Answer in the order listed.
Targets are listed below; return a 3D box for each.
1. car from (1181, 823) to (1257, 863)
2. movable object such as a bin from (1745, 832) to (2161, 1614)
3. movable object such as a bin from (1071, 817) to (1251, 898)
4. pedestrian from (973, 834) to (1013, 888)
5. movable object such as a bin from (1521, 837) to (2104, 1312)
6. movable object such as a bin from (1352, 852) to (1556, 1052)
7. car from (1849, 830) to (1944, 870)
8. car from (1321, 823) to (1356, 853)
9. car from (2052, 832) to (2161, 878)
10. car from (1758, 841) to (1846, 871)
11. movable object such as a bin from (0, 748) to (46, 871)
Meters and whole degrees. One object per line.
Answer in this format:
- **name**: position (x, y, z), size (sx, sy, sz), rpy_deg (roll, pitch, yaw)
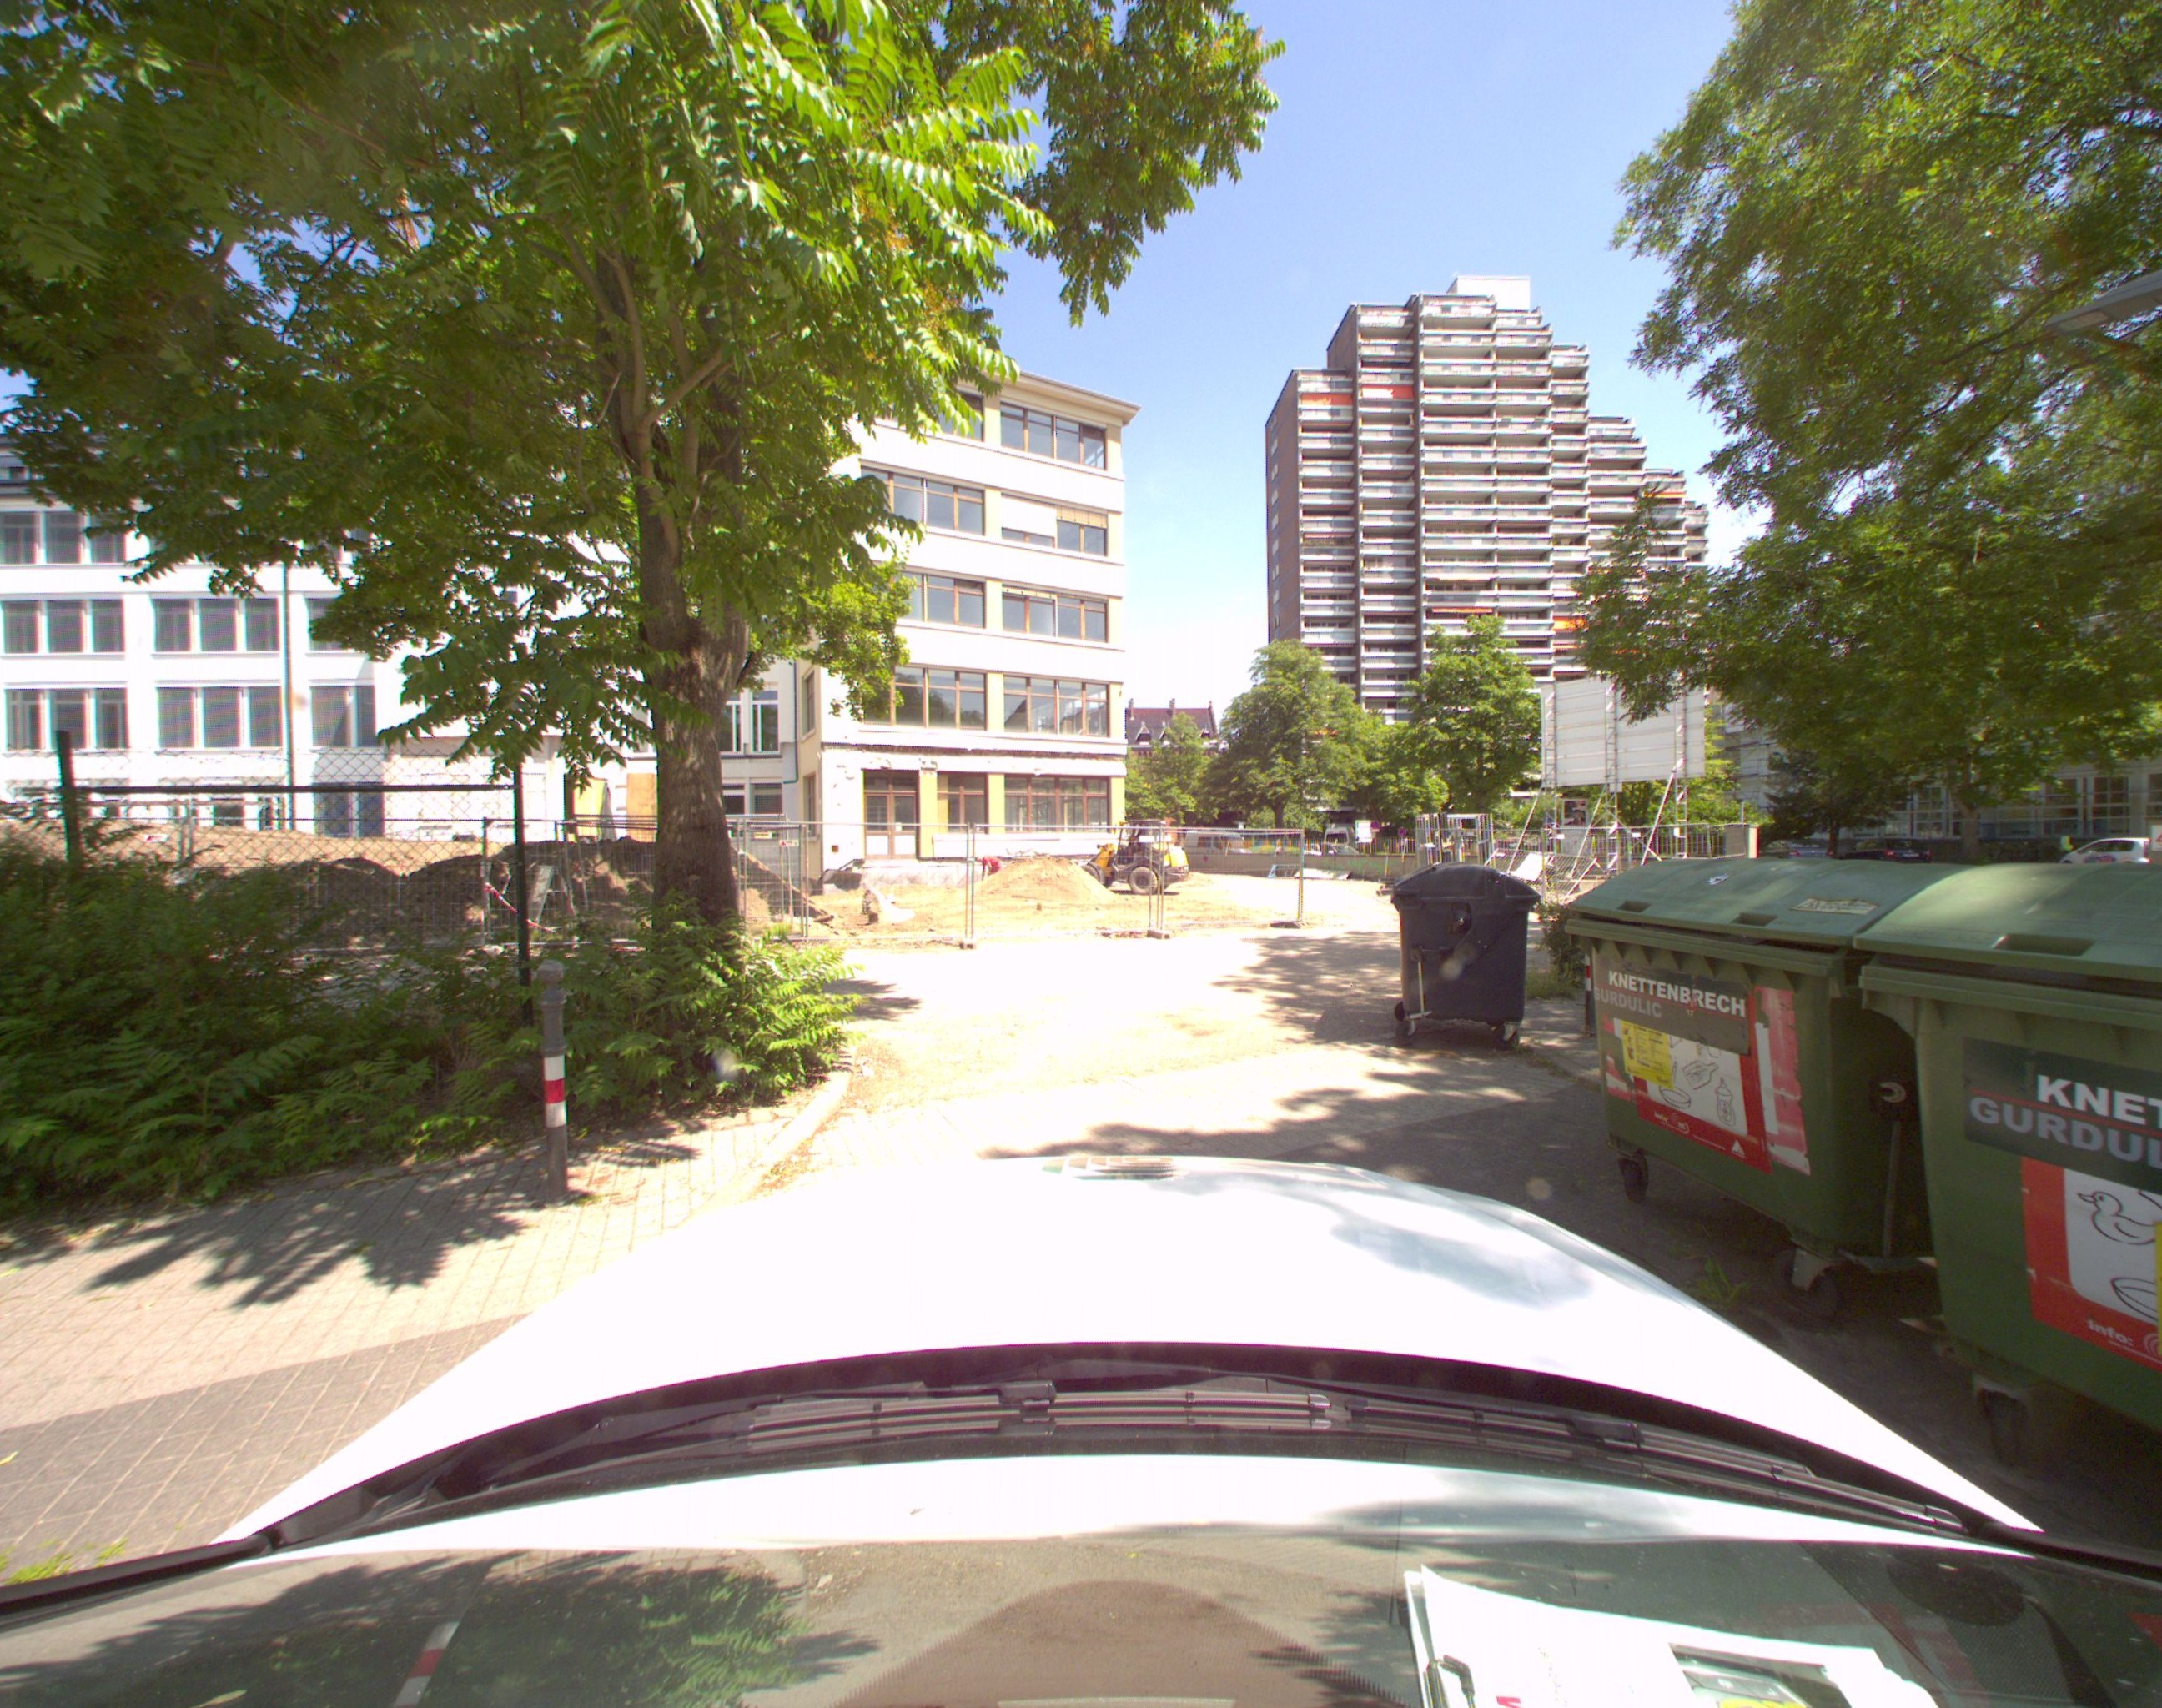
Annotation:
- **car**: position (8.707, -0.668, 51.940), size (2.005, 2.416, 5.195), rpy_deg (-1, 0, -28)
- **movable object such as a bin**: position (2.548, 0.678, 1.787), size (1.071, 1.458, 1.378), rpy_deg (-1, 0, 2)
- **movable object such as a bin**: position (2.633, 0.049, 26.857), size (5.354, 2.464, 2.381), rpy_deg (1, 1, 24)
- **pedestrian**: position (-3.050, 0.237, 28.138), size (0.905, 1.847, 0.992), rpy_deg (-1, 0, 36)
- **movable object such as a bin**: position (2.632, 0.681, 3.208), size (1.071, 1.458, 1.378), rpy_deg (-1, 0, 2)
- **movable object such as a bin**: position (2.986, 0.722, 6.715), size (1.071, 1.458, 1.378), rpy_deg (-1, 0, 2)
- **car**: position (35.516, -0.173, 35.602), size (1.992, 1.629, 3.955), rpy_deg (-1, 0, 31)
- **car**: position (20.245, -1.218, 63.849), size (2.165, 2.258, 4.895), rpy_deg (-1, 0, 22)
- **car**: position (38.518, 0.007, 30.062), size (1.651, 1.589, 3.708), rpy_deg (-1, 0, 16)
- **car**: position (33.718, 0.063, 38.211), size (1.897, 1.310, 3.952), rpy_deg (-1, 0, 22)
- **movable object such as a bin**: position (-41.062, -1.532, 29.167), size (5.679, 4.372, 2.002), rpy_deg (-1, 0, 4)
